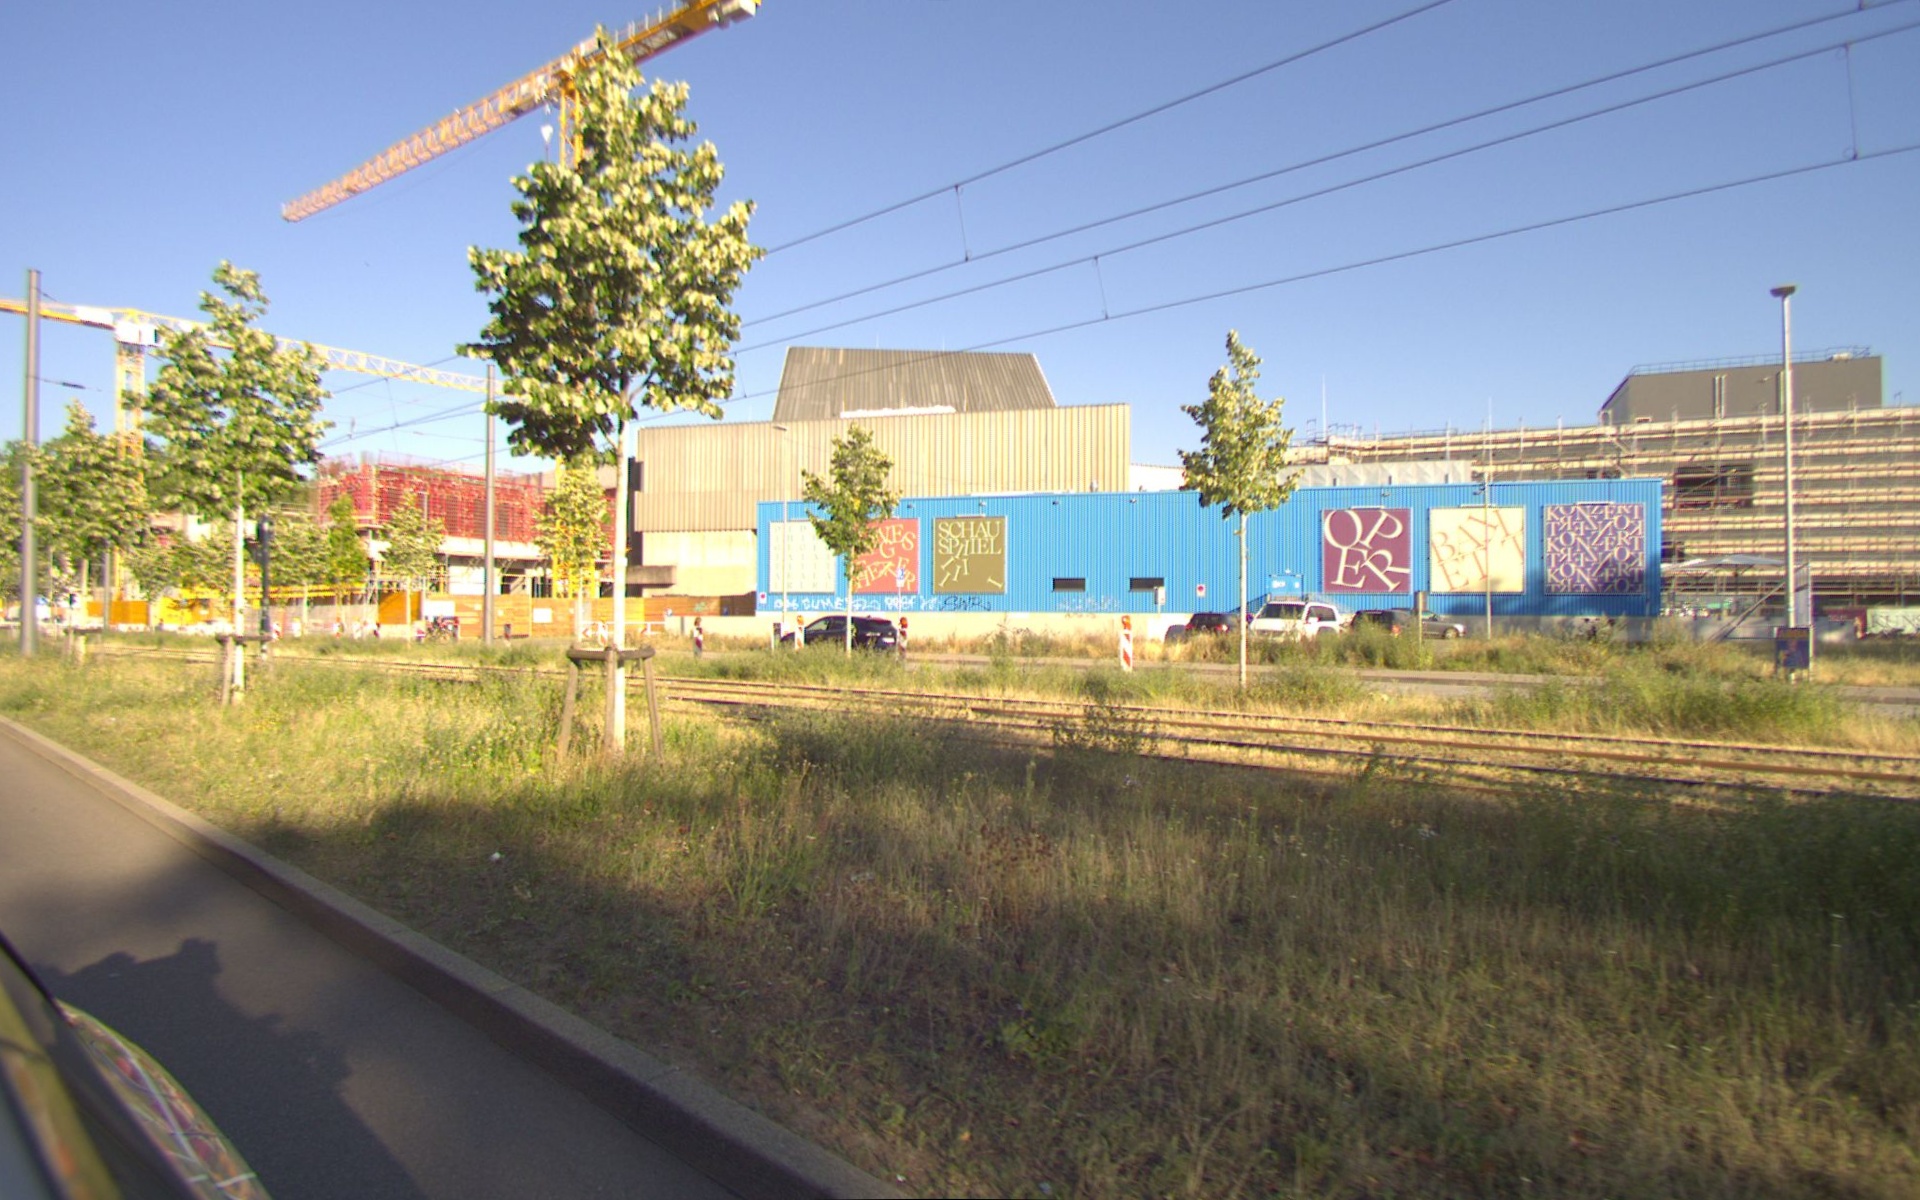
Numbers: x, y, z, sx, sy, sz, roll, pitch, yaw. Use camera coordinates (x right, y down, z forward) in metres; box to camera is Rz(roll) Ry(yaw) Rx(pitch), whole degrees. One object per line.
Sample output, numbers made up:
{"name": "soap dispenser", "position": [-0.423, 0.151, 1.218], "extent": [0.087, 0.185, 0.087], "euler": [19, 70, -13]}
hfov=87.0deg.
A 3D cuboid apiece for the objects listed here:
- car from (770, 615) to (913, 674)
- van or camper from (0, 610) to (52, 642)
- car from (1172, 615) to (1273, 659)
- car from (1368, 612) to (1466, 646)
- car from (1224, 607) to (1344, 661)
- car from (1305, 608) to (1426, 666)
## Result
{"name": "car", "position": [-3.658, 1.309, 30.875], "extent": [4.268, 1.663, 1.973], "euler": [-1, -2, 41]}
{"name": "van or camper", "position": [-79.708, 2.230, 85.942], "extent": [7.182, 2.529, 2.203], "euler": [-2, -4, 35]}
{"name": "car", "position": [9.453, 1.289, 36.288], "extent": [1.999, 1.496, 3.946], "euler": [-1, -2, 40]}
{"name": "car", "position": [22.323, 1.419, 49.559], "extent": [4.188, 1.648, 1.404], "euler": [0, -1, 17]}
{"name": "car", "position": [11.188, 1.136, 34.688], "extent": [2.123, 1.730, 5.173], "euler": [-1, -2, 40]}
{"name": "car", "position": [13.204, 1.154, 32.771], "extent": [2.123, 1.730, 5.173], "euler": [-1, -2, 40]}
